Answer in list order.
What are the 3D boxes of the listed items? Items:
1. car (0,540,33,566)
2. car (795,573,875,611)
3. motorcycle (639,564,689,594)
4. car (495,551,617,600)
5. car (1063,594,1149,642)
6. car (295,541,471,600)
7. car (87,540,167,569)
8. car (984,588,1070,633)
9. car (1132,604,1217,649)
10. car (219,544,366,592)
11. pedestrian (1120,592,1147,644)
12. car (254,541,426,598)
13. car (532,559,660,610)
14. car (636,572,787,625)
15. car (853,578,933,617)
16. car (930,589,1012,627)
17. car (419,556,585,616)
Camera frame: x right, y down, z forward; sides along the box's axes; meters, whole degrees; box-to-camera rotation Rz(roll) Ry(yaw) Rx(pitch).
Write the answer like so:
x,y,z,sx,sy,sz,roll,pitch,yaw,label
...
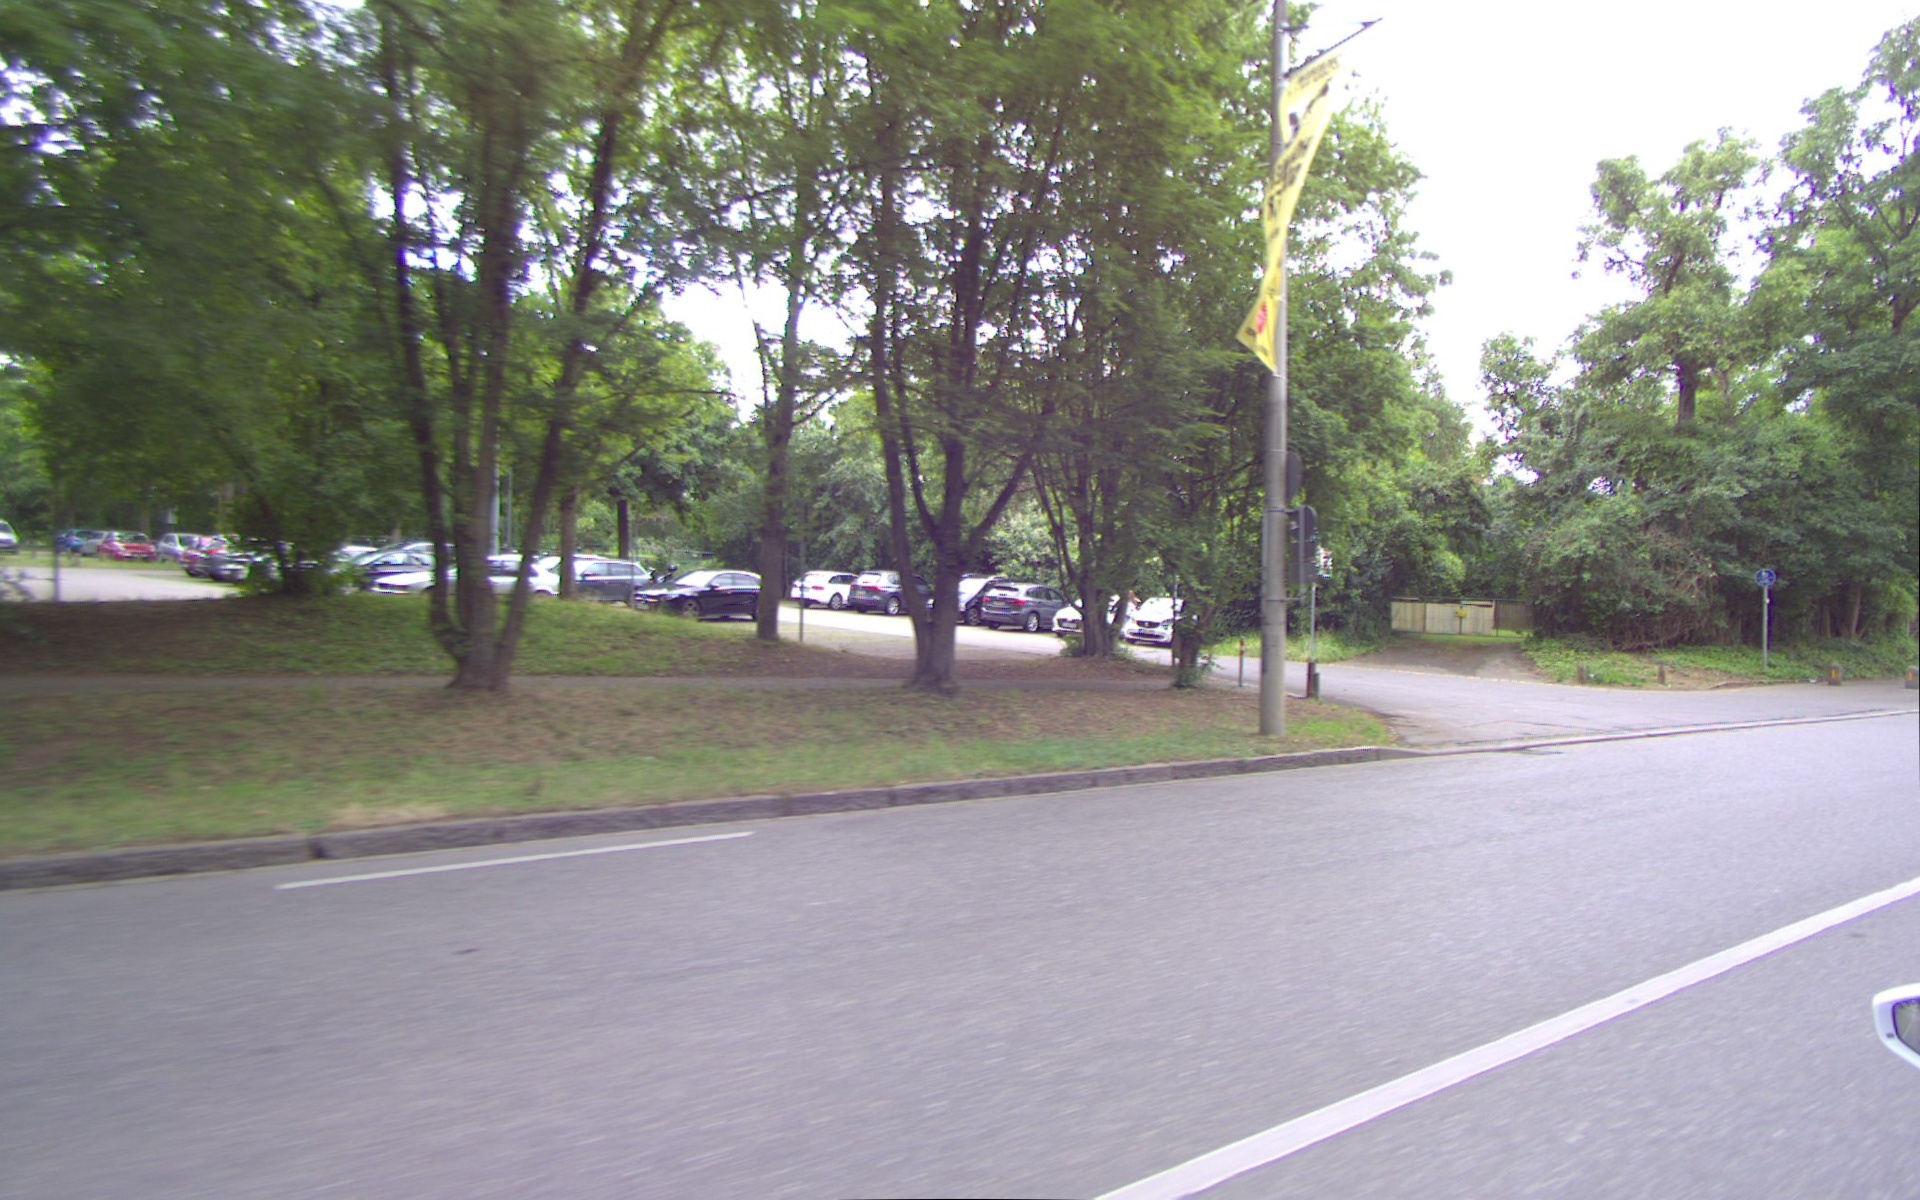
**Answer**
x,y,z,sx,sy,sz,roll,pitch,yaw,label
-48.546,-2.359,50.633,3.920,1.226,1.897,2,0,36,car
-4.850,-0.283,39.183,1.247,1.387,3.058,4,2,38,car
-14.114,-1.003,47.871,2.161,1.341,0.720,1,1,-30,motorcycle
-13.118,-0.770,32.746,1.515,1.434,3.365,4,2,38,car
4.723,0.573,32.276,1.354,1.420,3.058,4,2,38,car
-16.145,-0.789,28.293,1.624,1.506,3.986,2,0,36,car
-38.471,-2.084,46.384,3.920,1.226,1.897,2,0,36,car
2.296,0.351,33.890,1.354,1.420,3.058,4,2,38,car
6.767,0.814,31.556,1.354,1.255,3.058,4,2,38,car
-21.427,-0.996,32.351,1.620,1.372,3.578,3,1,33,car
5.485,0.559,31.772,0.463,1.632,0.827,2,1,38,pedestrian
-18.140,-0.846,29.525,1.624,1.506,3.986,2,0,36,car
-11.100,-0.444,30.773,1.515,1.434,3.365,4,2,38,car
-6.951,-0.025,28.438,1.419,1.358,4.107,4,2,38,car
-2.505,-0.084,38.065,1.247,1.379,3.058,4,2,38,car
0.433,0.278,35.313,1.247,1.228,3.058,4,2,38,car
-11.782,-0.351,26.036,1.620,1.399,3.578,3,1,33,car
